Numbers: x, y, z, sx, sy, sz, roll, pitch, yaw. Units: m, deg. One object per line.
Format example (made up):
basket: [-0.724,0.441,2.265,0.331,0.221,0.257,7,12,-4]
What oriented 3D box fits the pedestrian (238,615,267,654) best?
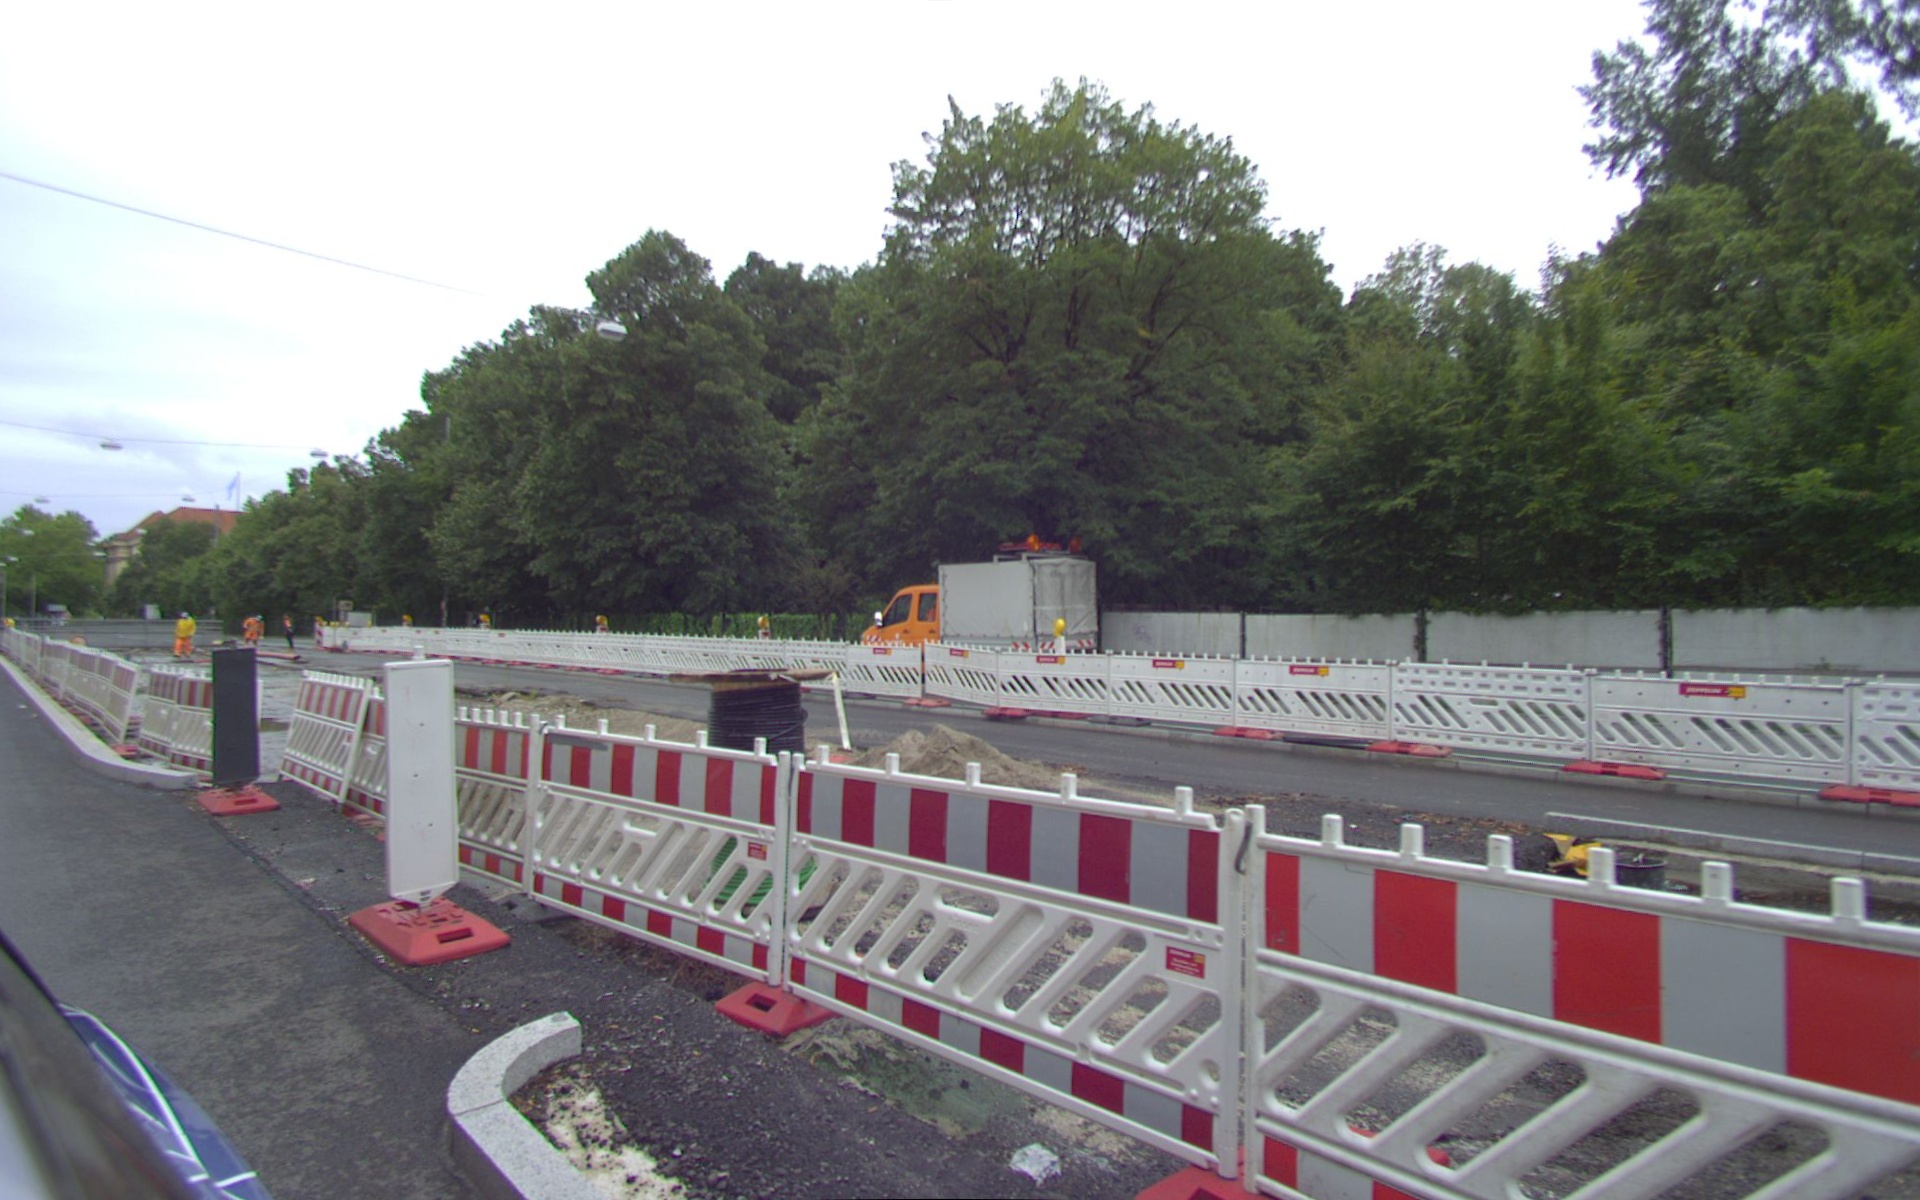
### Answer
pedestrian: [-31.171,1.529,44.611,0.887,1.701,0.912,3,-3,-43]

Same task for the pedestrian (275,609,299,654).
pedestrian: [-29.828,1.396,44.849,0.657,1.985,0.808,1,-2,-20]

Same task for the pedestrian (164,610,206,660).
pedestrian: [-29.334,1.332,38.335,0.849,1.850,0.874,1,-2,2]

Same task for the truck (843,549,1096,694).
truck: [0.027,0.499,23.083,2.097,2.871,6.218,3,-3,-42]
